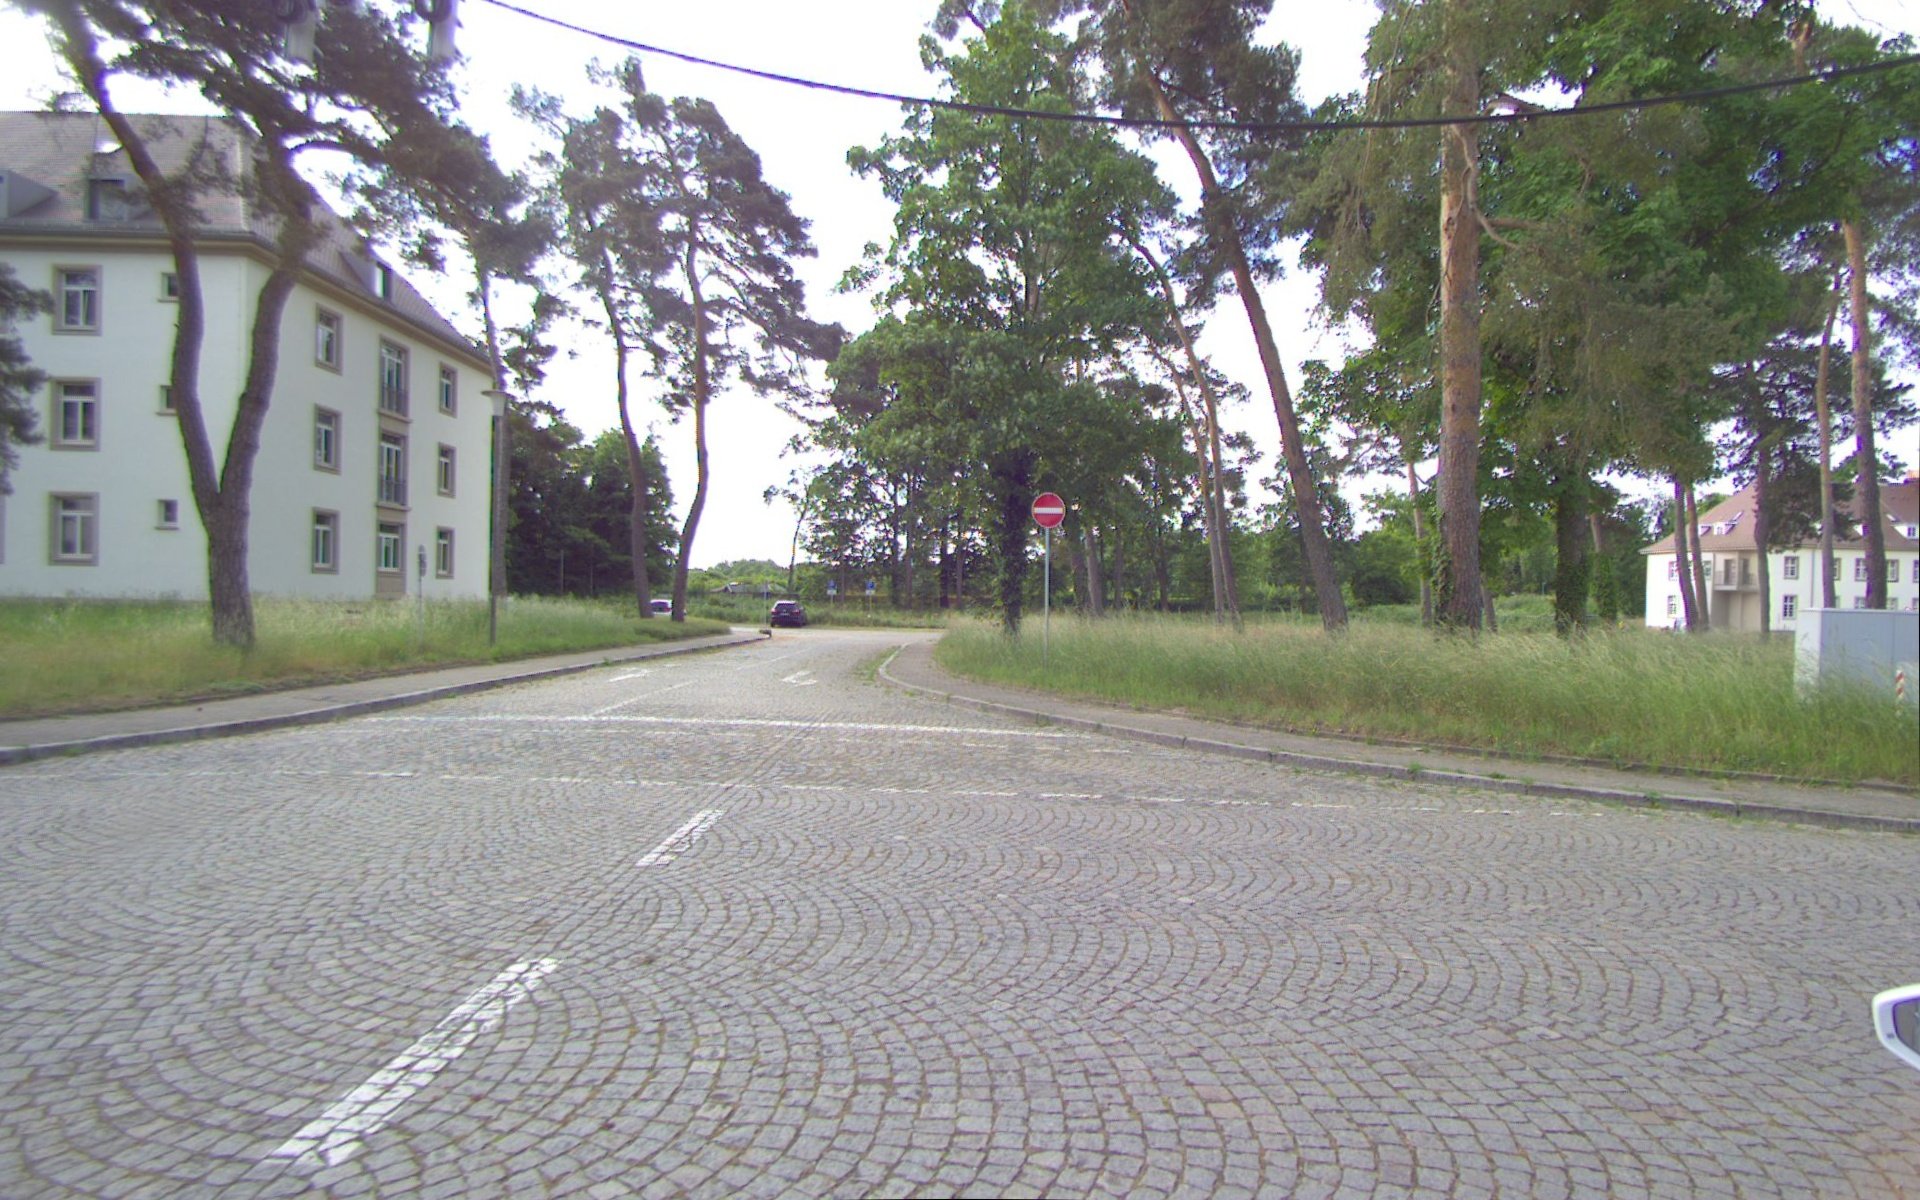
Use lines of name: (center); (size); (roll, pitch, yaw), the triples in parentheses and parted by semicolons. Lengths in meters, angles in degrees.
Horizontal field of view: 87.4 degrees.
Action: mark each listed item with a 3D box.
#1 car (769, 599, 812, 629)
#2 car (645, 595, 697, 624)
car: (-10.021, 0.827, 59.631); (1.683, 1.632, 4.058); (3, 0, 2)
car: (-17.275, 0.553, 60.228); (1.682, 1.632, 4.059); (3, 0, 4)
